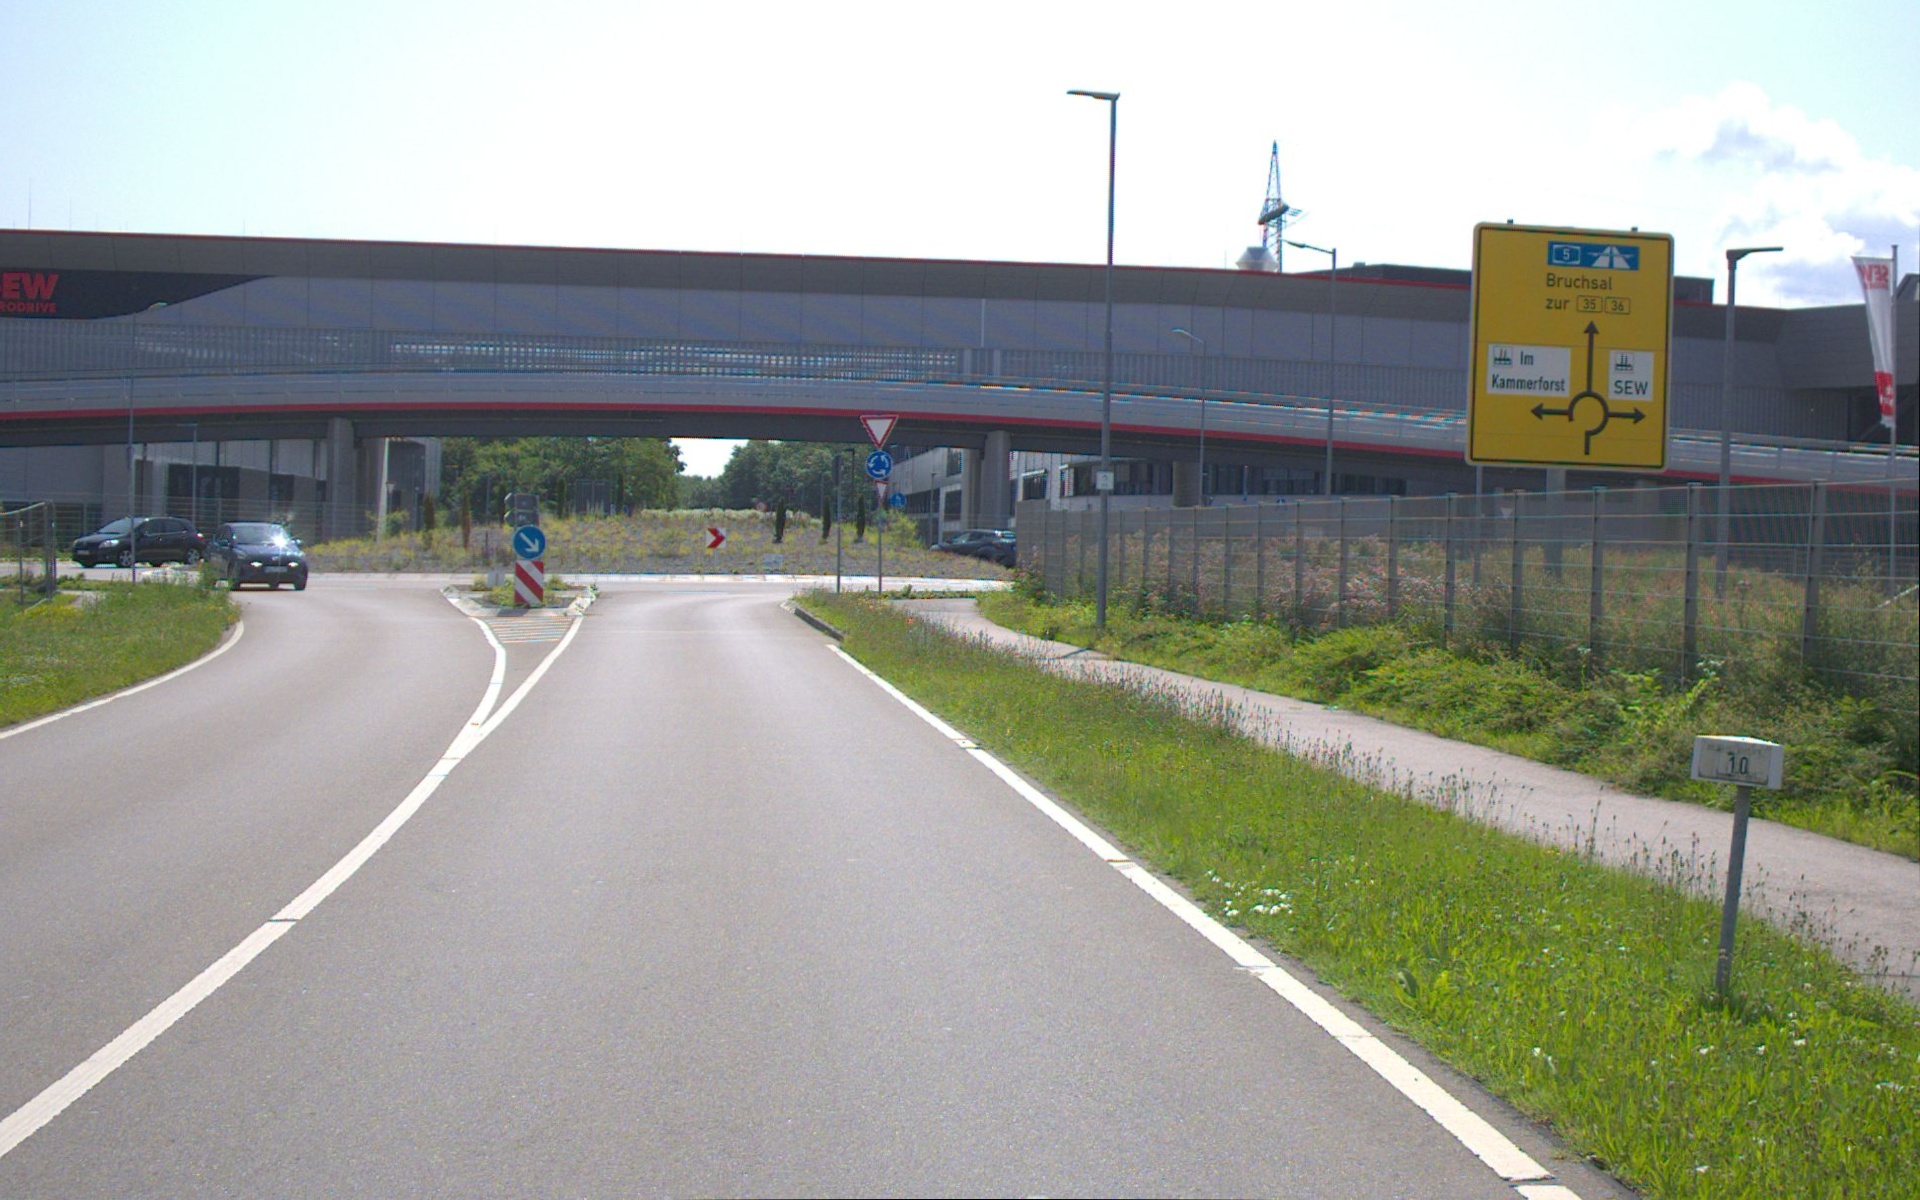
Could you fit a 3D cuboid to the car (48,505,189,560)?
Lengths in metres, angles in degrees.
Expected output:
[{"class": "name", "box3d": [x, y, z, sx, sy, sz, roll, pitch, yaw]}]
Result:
[{"class": "car", "box3d": [-24.923, -2.000, 101.930, 1.996, 1.578, 3.995, 1, 1, 25]}]

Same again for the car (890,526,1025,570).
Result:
[{"class": "car", "box3d": [-0.088, -1.661, 110.045, 3.997, 1.382, 1.995, 1, 1, 42]}]

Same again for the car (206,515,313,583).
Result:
[{"class": "car", "box3d": [-15.782, -1.146, 77.361, 1.702, 1.477, 4.001, 0, 1, -21]}]
